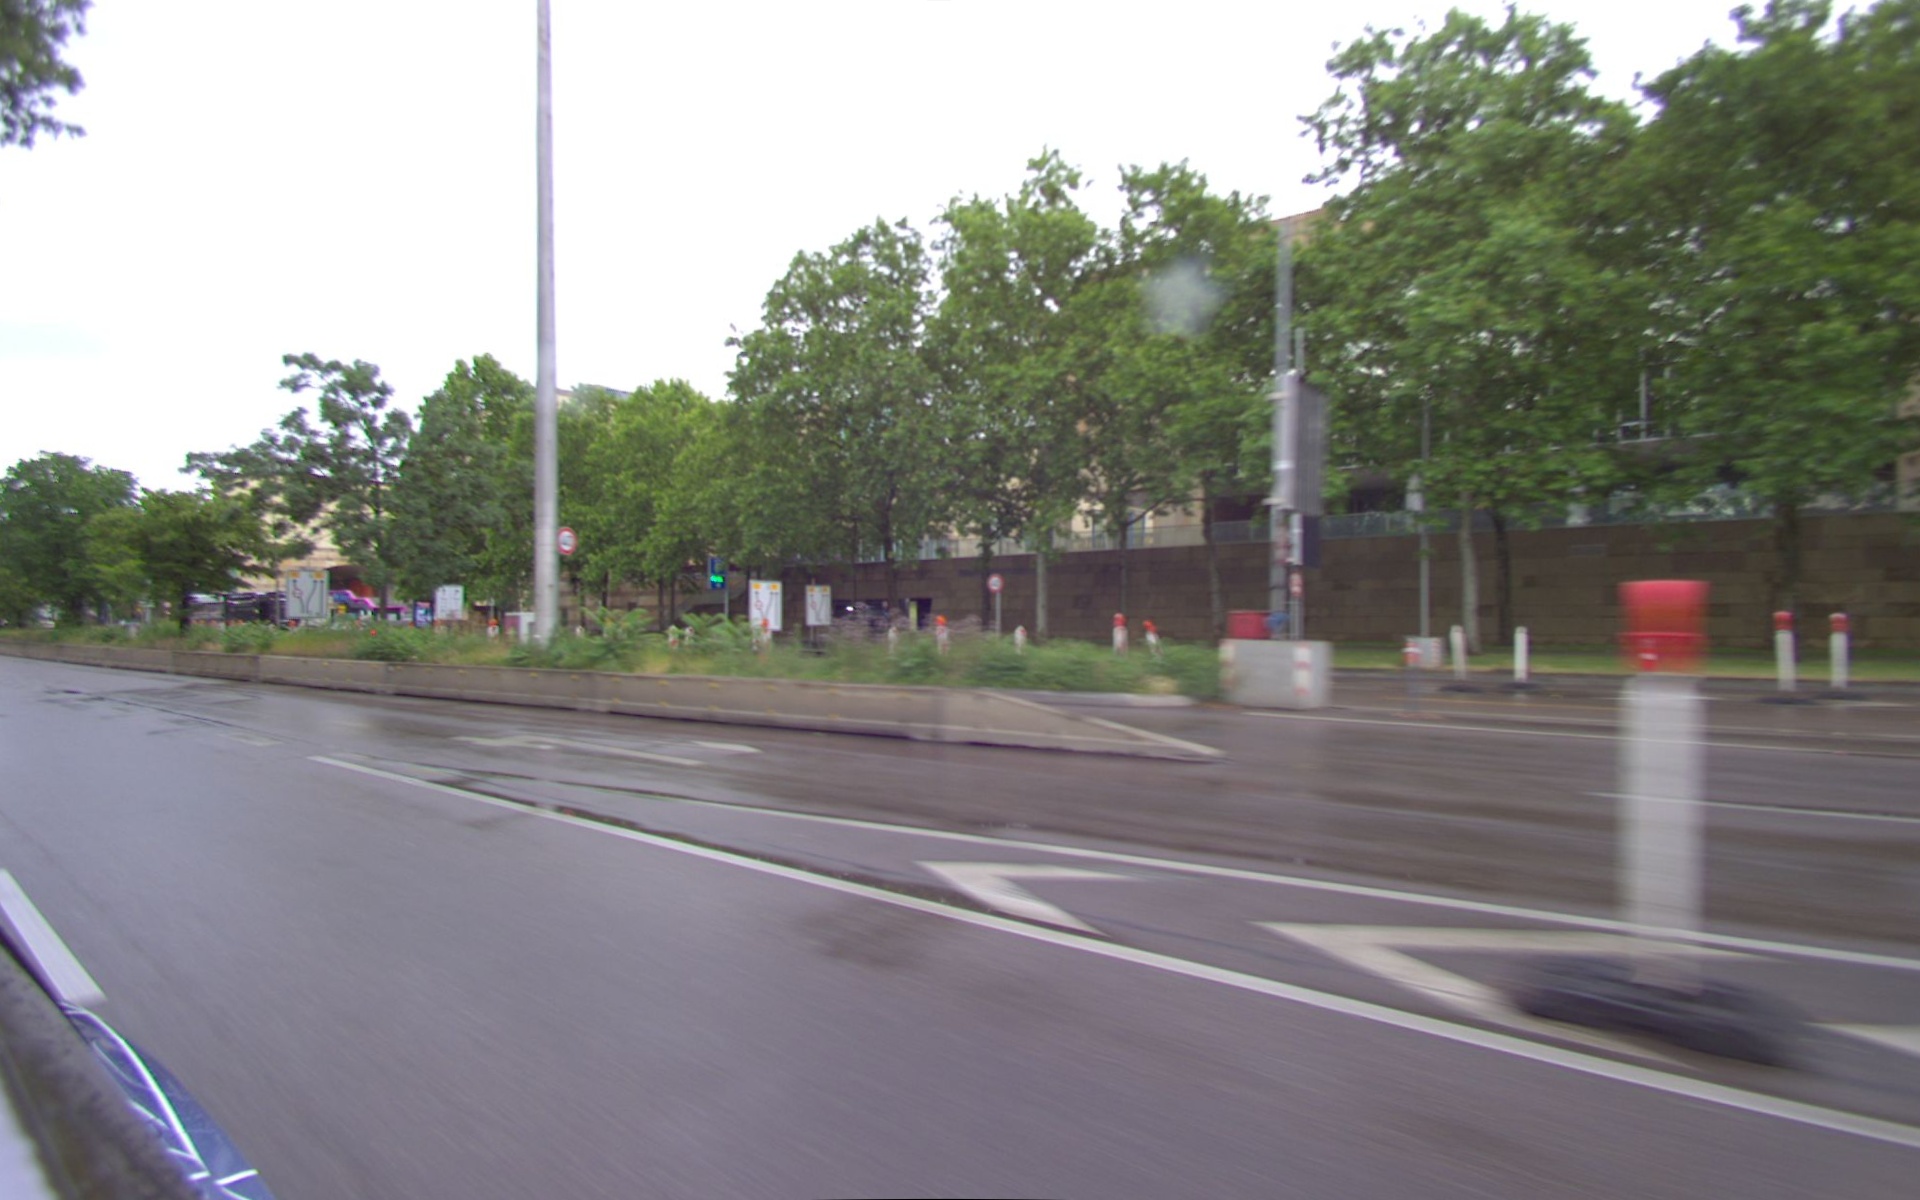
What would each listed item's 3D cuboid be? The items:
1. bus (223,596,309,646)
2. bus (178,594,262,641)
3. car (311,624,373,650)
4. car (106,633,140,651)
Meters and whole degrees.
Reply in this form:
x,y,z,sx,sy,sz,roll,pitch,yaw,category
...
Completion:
x,y,z,sx,sy,sz,roll,pitch,yaw,category
-63.904,1.927,93.020,13.485,4.284,3.087,-2,0,41,bus
-65.817,1.573,89.830,14.588,3.840,2.775,-2,0,41,bus
-37.835,2.251,61.940,3.996,1.541,1.974,0,-2,39,car
-76.579,3.837,92.567,3.206,1.512,1.578,-1,0,35,car
